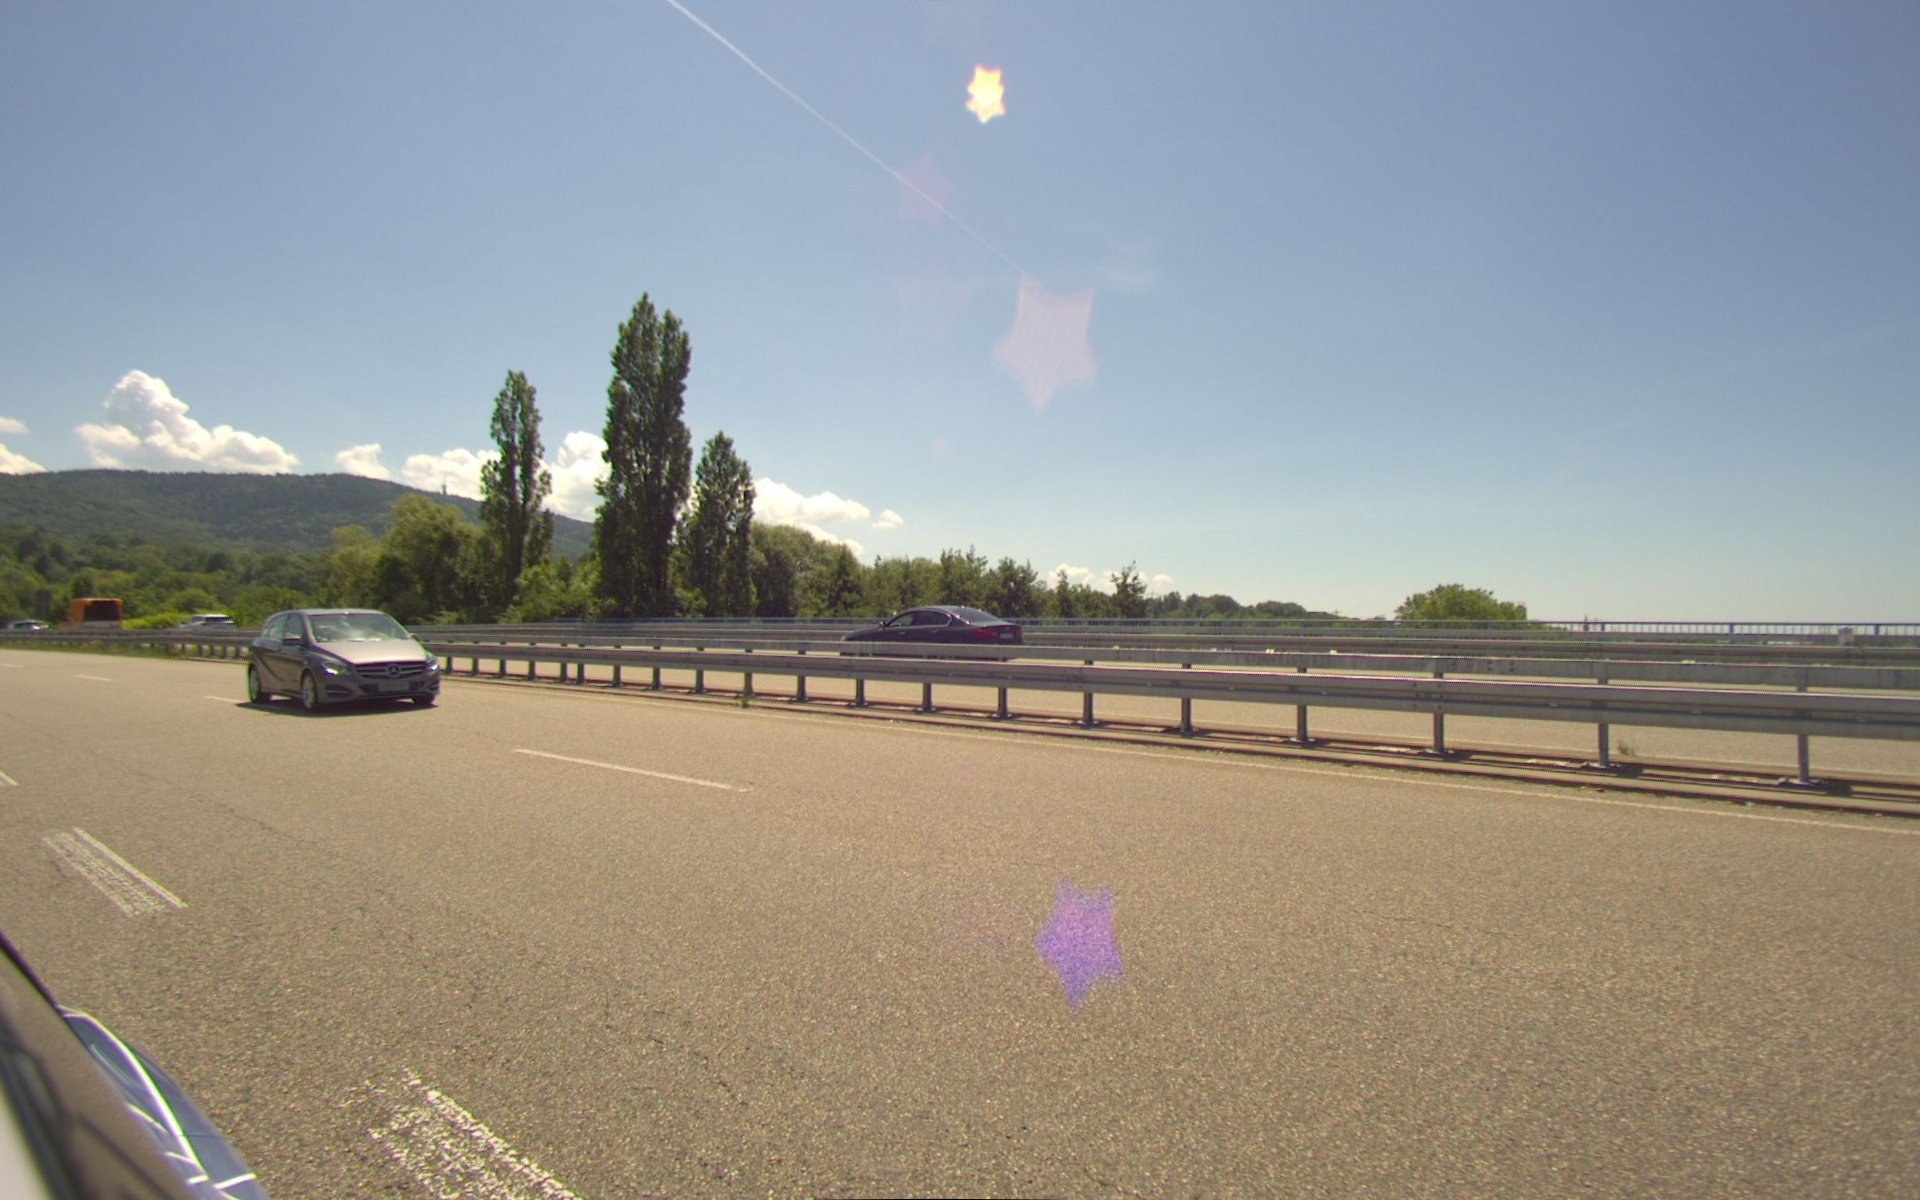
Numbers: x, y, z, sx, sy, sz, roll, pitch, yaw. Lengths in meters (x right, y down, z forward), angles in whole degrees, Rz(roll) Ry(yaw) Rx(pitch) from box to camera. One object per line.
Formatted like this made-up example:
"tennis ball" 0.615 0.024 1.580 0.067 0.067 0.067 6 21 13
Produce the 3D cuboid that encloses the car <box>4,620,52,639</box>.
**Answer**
"car" -73.281 2.334 79.570 4.784 1.443 1.836 -1 -1 36

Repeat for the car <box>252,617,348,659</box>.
"car" -25.851 1.461 39.579 4.680 1.516 1.885 -2 -1 40

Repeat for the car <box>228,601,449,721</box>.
"car" -10.220 0.896 16.489 4.552 1.680 1.774 -1 0 41

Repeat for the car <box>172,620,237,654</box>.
"car" -43.579 2.087 58.342 4.788 1.832 1.835 0 -1 38

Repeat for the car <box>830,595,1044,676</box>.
"car" -0.631 0.755 23.485 5.048 1.680 1.824 0 -1 41

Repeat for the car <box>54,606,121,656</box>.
"car" -60.828 2.140 70.517 7.019 3.317 2.283 -1 -2 39
